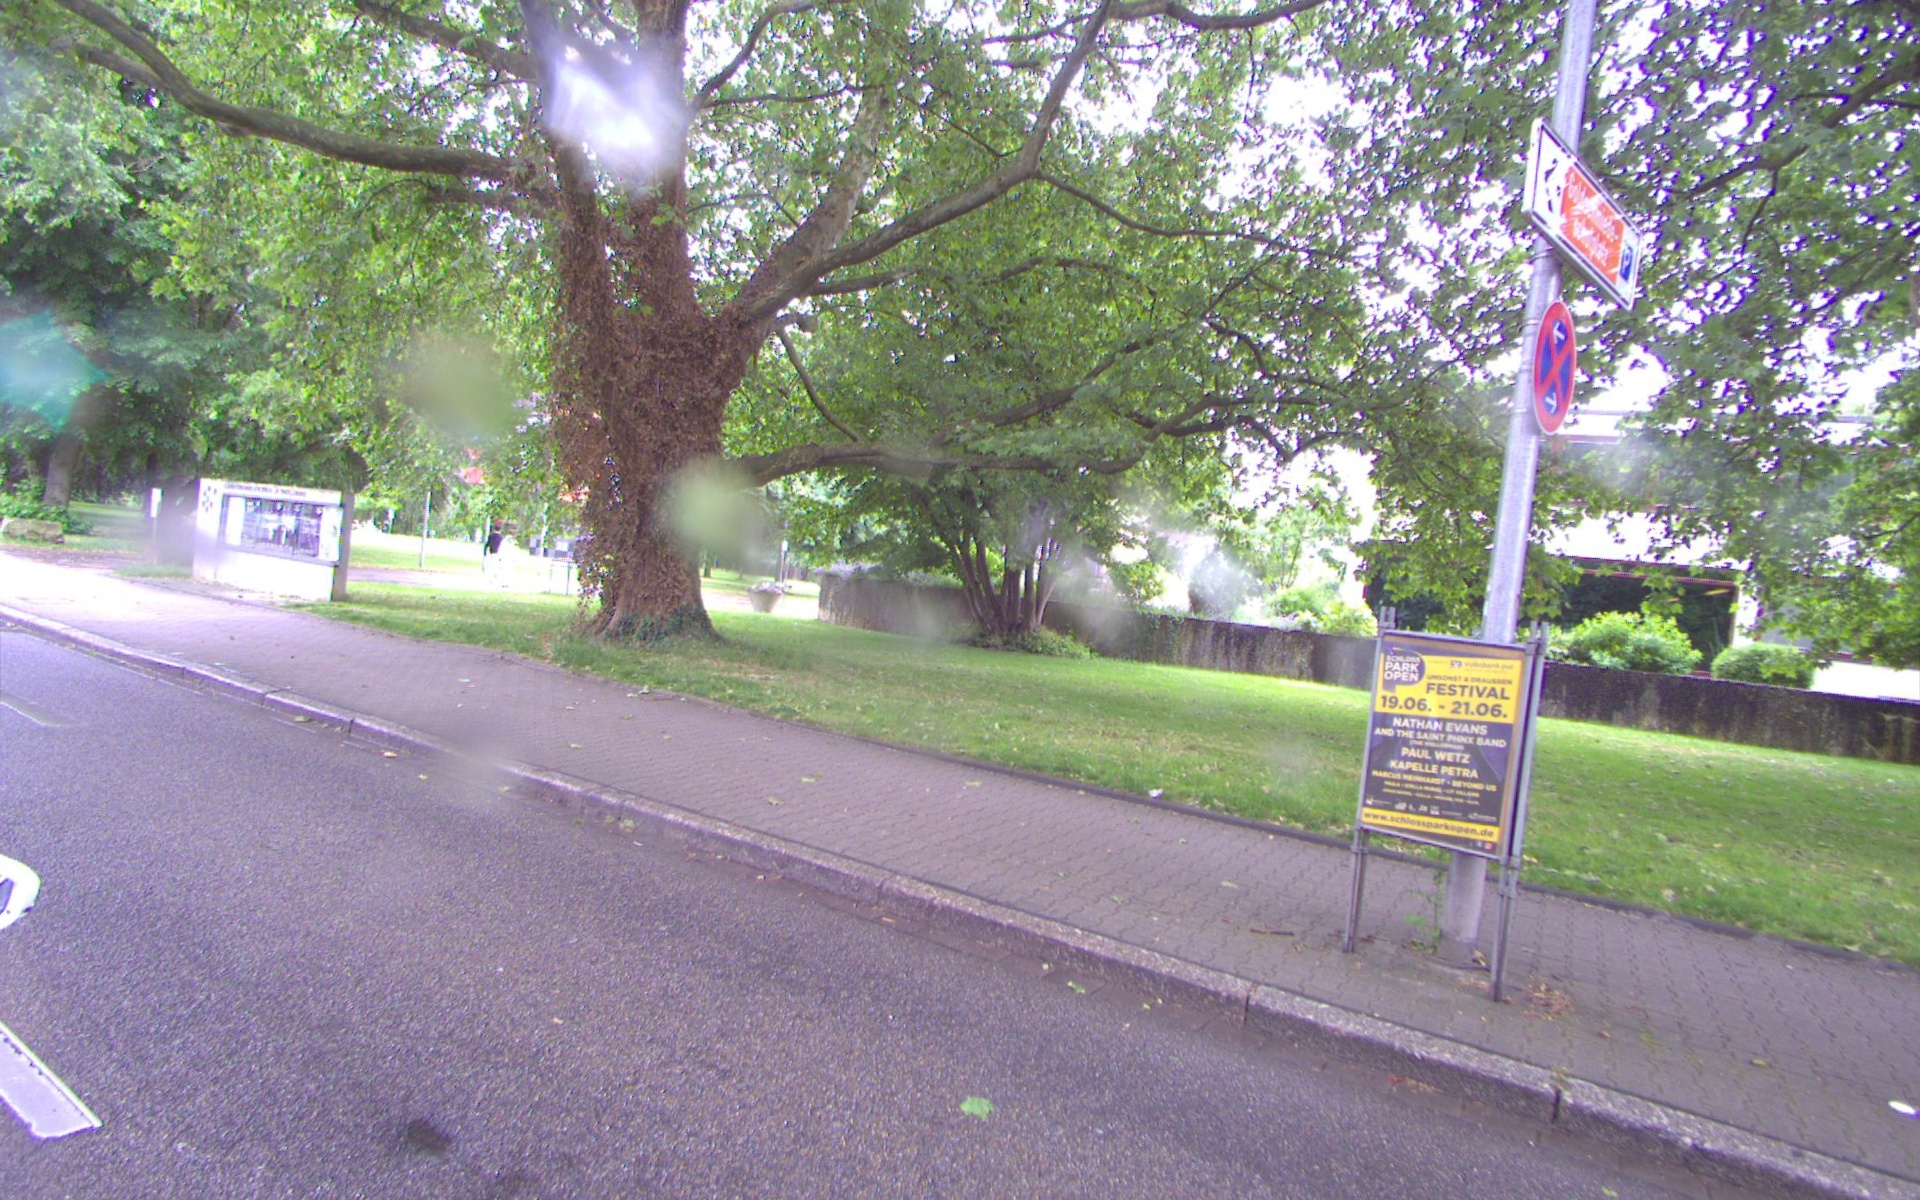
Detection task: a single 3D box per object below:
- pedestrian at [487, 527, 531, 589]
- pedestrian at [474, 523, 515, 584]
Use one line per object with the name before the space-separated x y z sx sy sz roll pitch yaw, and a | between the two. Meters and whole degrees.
pedestrian | -13.638 -1.278 30.416 0.776 1.732 0.666 7 -1 23
pedestrian | -14.423 -1.442 31.189 0.711 1.776 0.666 7 -1 23
